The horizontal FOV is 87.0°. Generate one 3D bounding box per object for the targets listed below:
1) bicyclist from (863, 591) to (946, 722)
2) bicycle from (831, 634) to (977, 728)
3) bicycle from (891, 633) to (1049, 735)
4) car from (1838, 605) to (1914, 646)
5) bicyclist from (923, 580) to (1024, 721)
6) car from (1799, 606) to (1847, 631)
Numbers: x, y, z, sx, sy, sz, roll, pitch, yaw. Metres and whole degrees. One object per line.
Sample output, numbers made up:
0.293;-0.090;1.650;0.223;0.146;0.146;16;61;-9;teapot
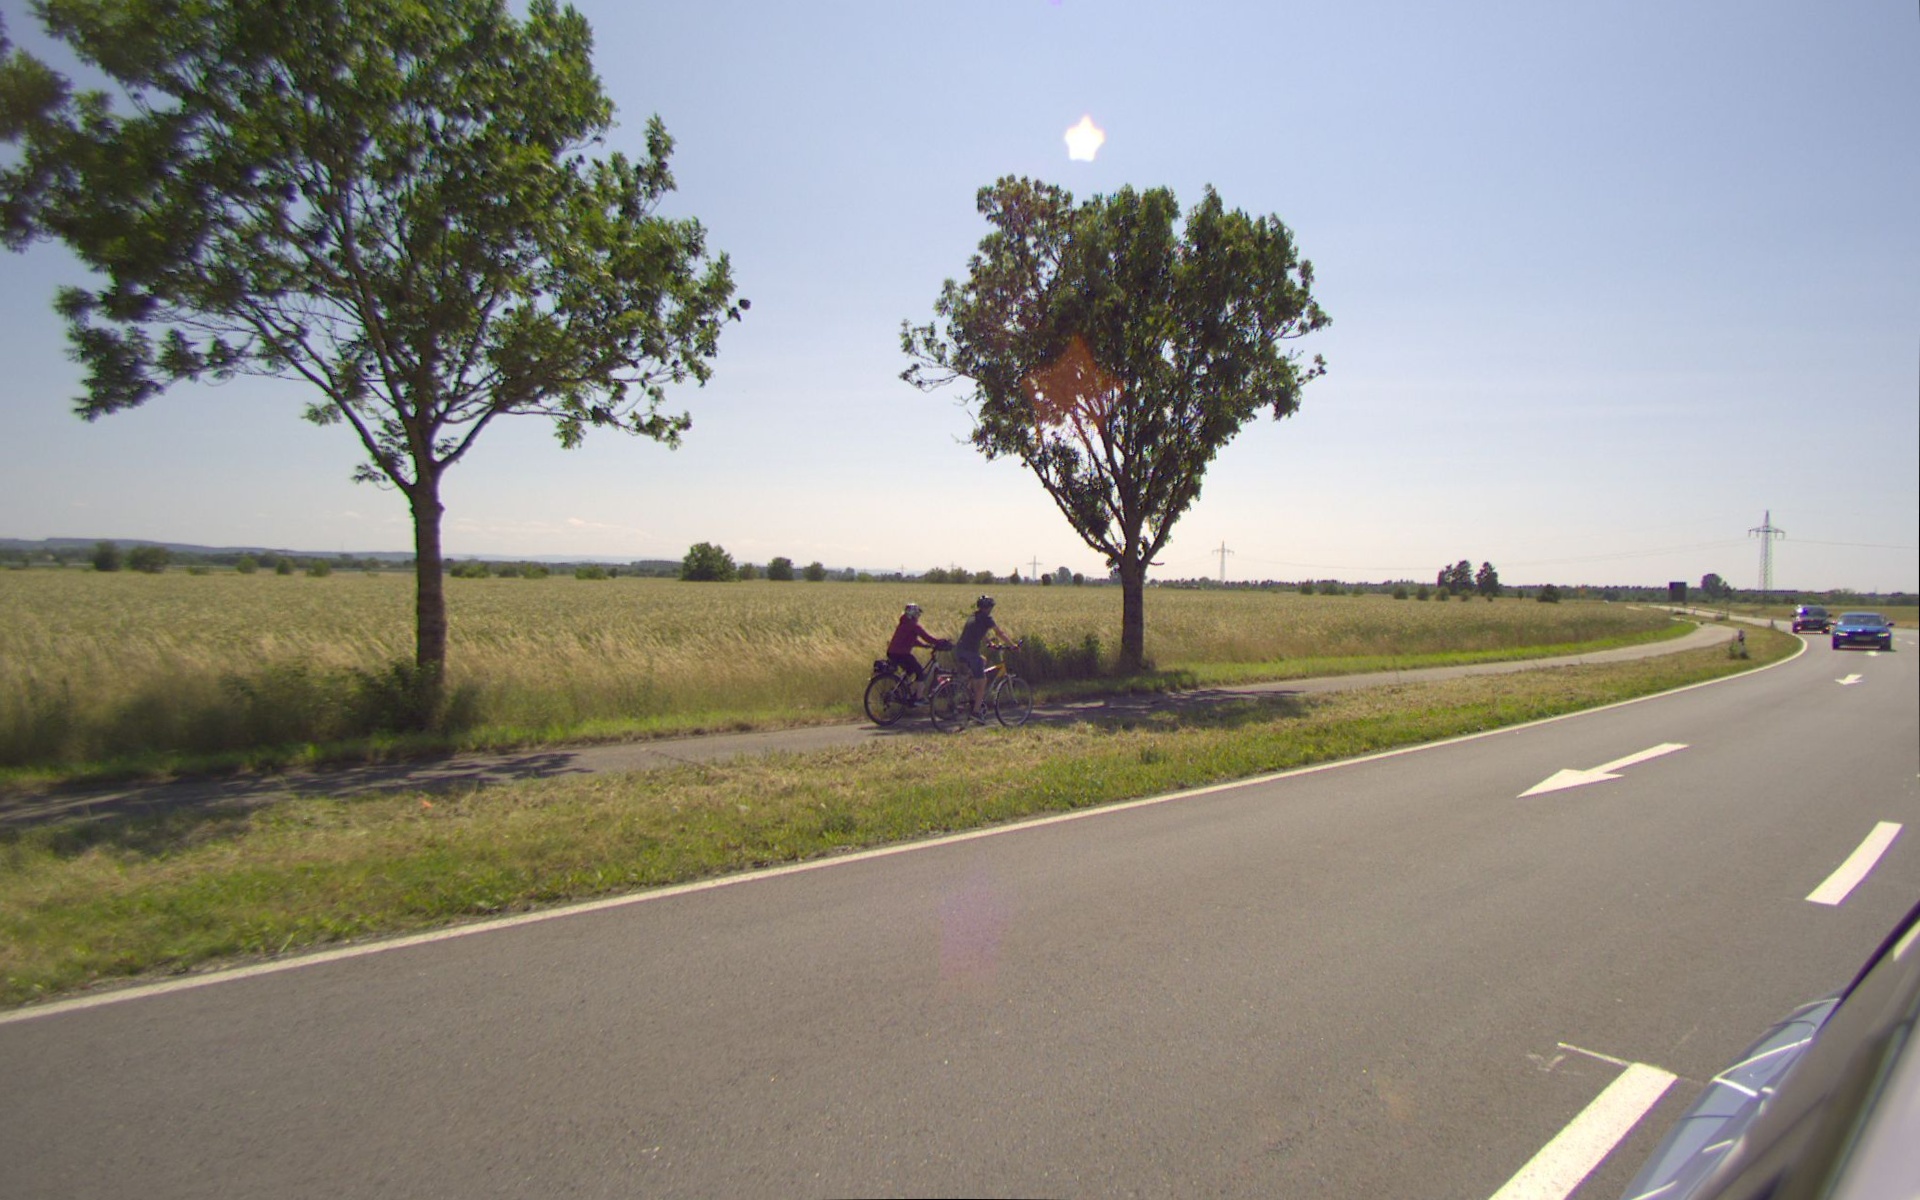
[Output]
-0.796;0.797;14.459;0.959;1.807;0.629;1;-5;-36;bicyclist
-0.780;1.115;14.455;2.013;1.226;0.700;0;-2;-37;bicycle
0.150;1.050;13.120;2.011;1.192;0.607;0;-3;-33;bicycle
37.136;0.984;41.070;2.182;1.485;4.937;0;0;42;car
0.177;0.650;13.222;1.149;1.758;0.589;1;-4;-32;bicyclist
55.755;1.180;65.443;2.180;1.485;4.944;0;0;38;car
